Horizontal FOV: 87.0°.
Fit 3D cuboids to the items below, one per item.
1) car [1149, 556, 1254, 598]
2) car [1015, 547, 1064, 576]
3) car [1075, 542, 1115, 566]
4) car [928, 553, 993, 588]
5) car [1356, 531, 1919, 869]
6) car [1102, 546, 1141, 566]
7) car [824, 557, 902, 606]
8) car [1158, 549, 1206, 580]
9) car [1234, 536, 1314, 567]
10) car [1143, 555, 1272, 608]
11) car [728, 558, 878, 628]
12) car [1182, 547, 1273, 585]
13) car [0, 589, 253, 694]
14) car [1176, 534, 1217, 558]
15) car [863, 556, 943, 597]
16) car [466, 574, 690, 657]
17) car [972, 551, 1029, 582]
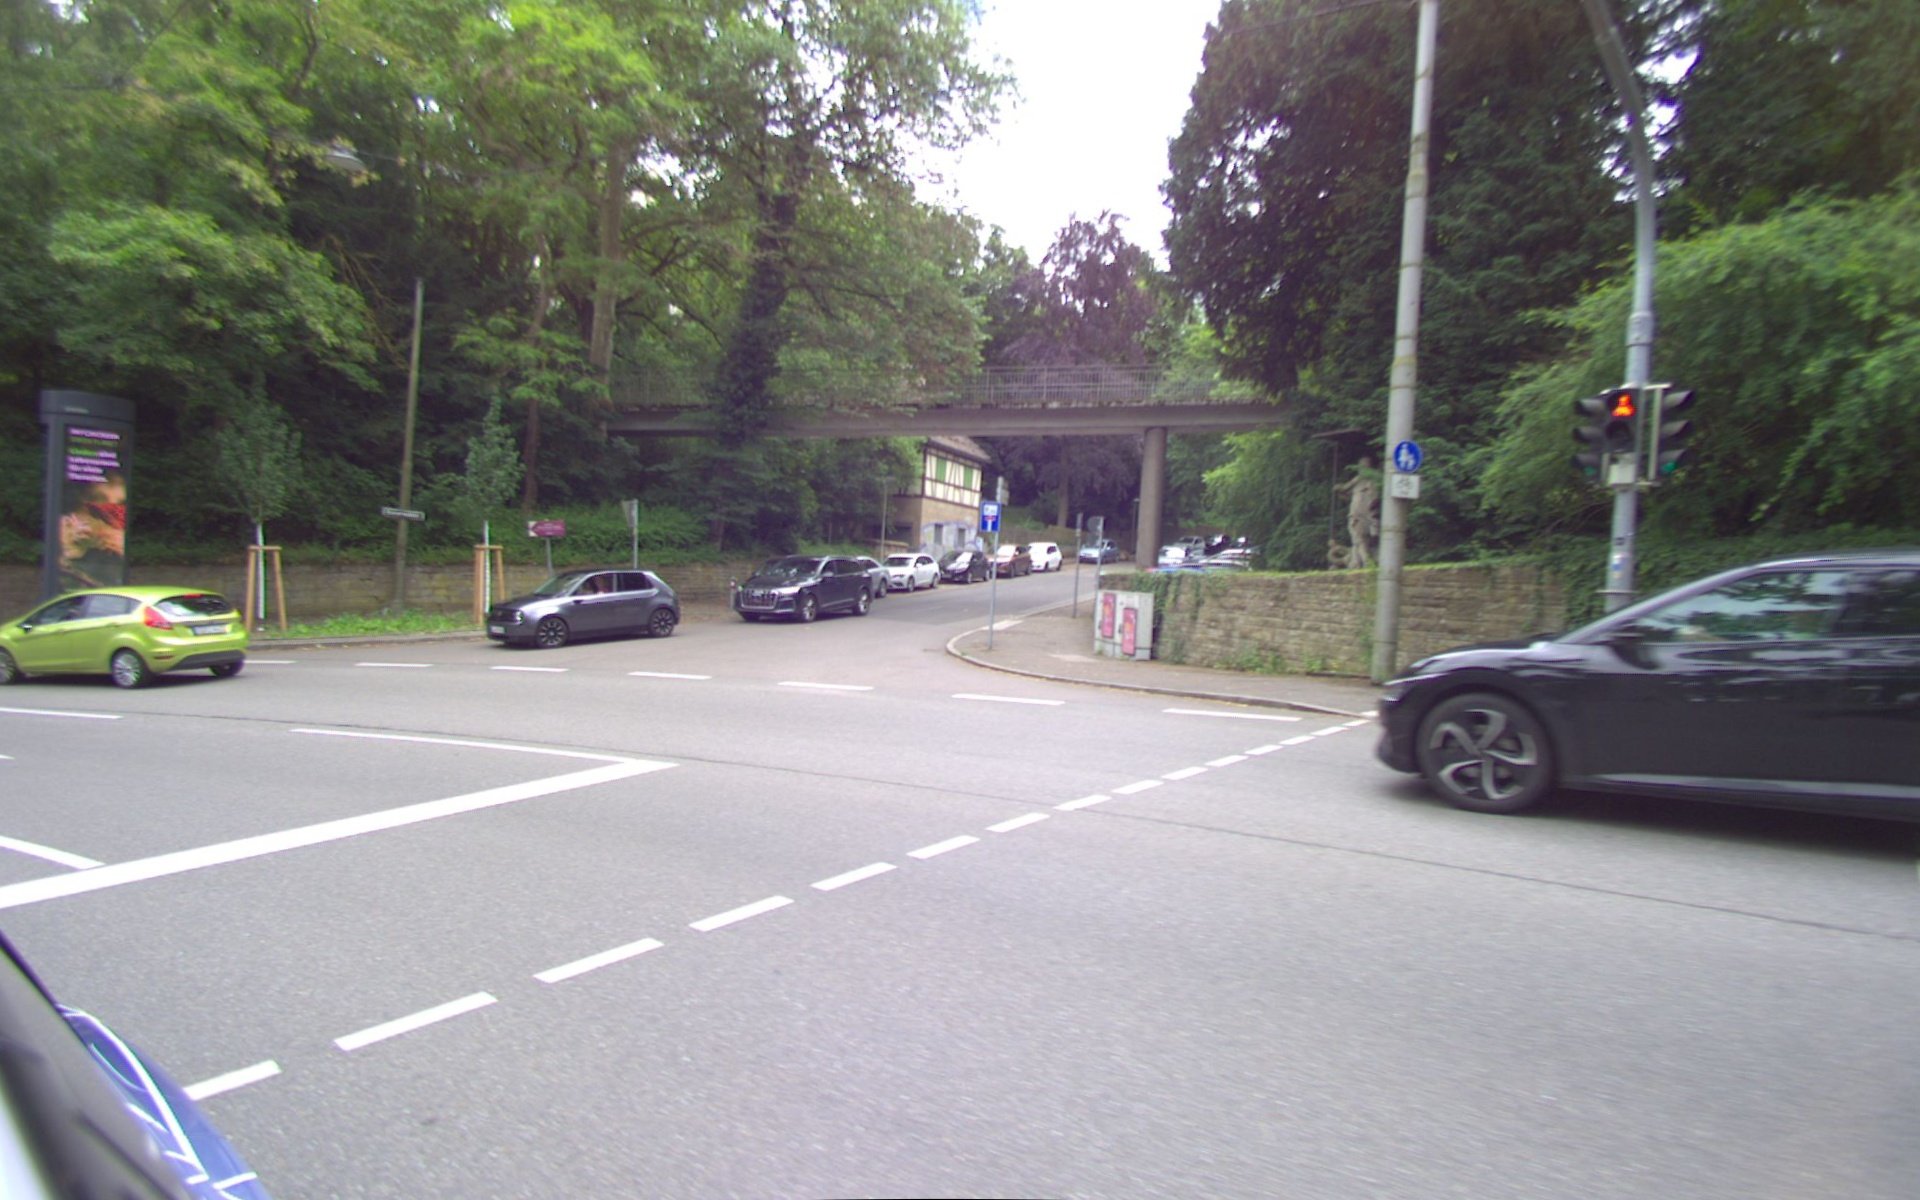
[{"bbox_3d":[10.066,-1.003,42.197,3.975,1.530,1.812,3,5,23],"label":"car"},{"bbox_3d":[4.345,-2.127,54.958,1.591,1.339,3.886,3,5,21],"label":"car"},{"bbox_3d":[8.511,-2.928,63.626,1.591,1.339,3.886,3,5,21],"label":"car"},{"bbox_3d":[0.082,-1.368,45.270,1.591,1.339,3.886,3,5,21],"label":"car"},{"bbox_3d":[4.673,0.453,5.534,1.611,1.555,4.402,-1,0,-44],"label":"car"},{"bbox_3d":[10.961,-3.009,68.622,1.586,1.237,3.609,3,4,26],"label":"car"},{"bbox_3d":[-3.402,-0.699,35.944,1.495,1.457,3.245,3,6,20],"label":"car"},{"bbox_3d":[12.105,-1.979,55.074,1.749,1.443,3.970,5,6,23],"label":"car"},{"bbox_3d":[17.225,-2.665,55.523,3.975,1.530,1.812,3,4,23],"label":"car"},{"bbox_3d":[8.050,-0.642,33.171,3.959,1.563,1.770,2,4,12],"label":"car"},{"bbox_3d":[-4.080,-0.269,27.101,1.798,1.697,4.505,1,3,25],"label":"car"},{"bbox_3d":[12.960,-1.669,49.063,3.975,1.530,1.812,4,5,23],"label":"car"},{"bbox_3d":[-13.093,0.591,15.493,3.861,1.433,1.553,0,2,14],"label":"car"},{"bbox_3d":[18.213,-4.136,77.741,1.992,1.763,3.959,-1,2,30],"label":"car"},{"bbox_3d":[-2.194,-0.970,39.803,1.617,1.339,3.996,3,5,21],"label":"car"},{"bbox_3d":[-7.765,0.231,20.862,1.753,1.368,3.947,2,5,40],"label":"car"},{"bbox_3d":[2.039,-1.691,49.813,1.591,1.339,3.886,3,5,21],"label":"car"}]
